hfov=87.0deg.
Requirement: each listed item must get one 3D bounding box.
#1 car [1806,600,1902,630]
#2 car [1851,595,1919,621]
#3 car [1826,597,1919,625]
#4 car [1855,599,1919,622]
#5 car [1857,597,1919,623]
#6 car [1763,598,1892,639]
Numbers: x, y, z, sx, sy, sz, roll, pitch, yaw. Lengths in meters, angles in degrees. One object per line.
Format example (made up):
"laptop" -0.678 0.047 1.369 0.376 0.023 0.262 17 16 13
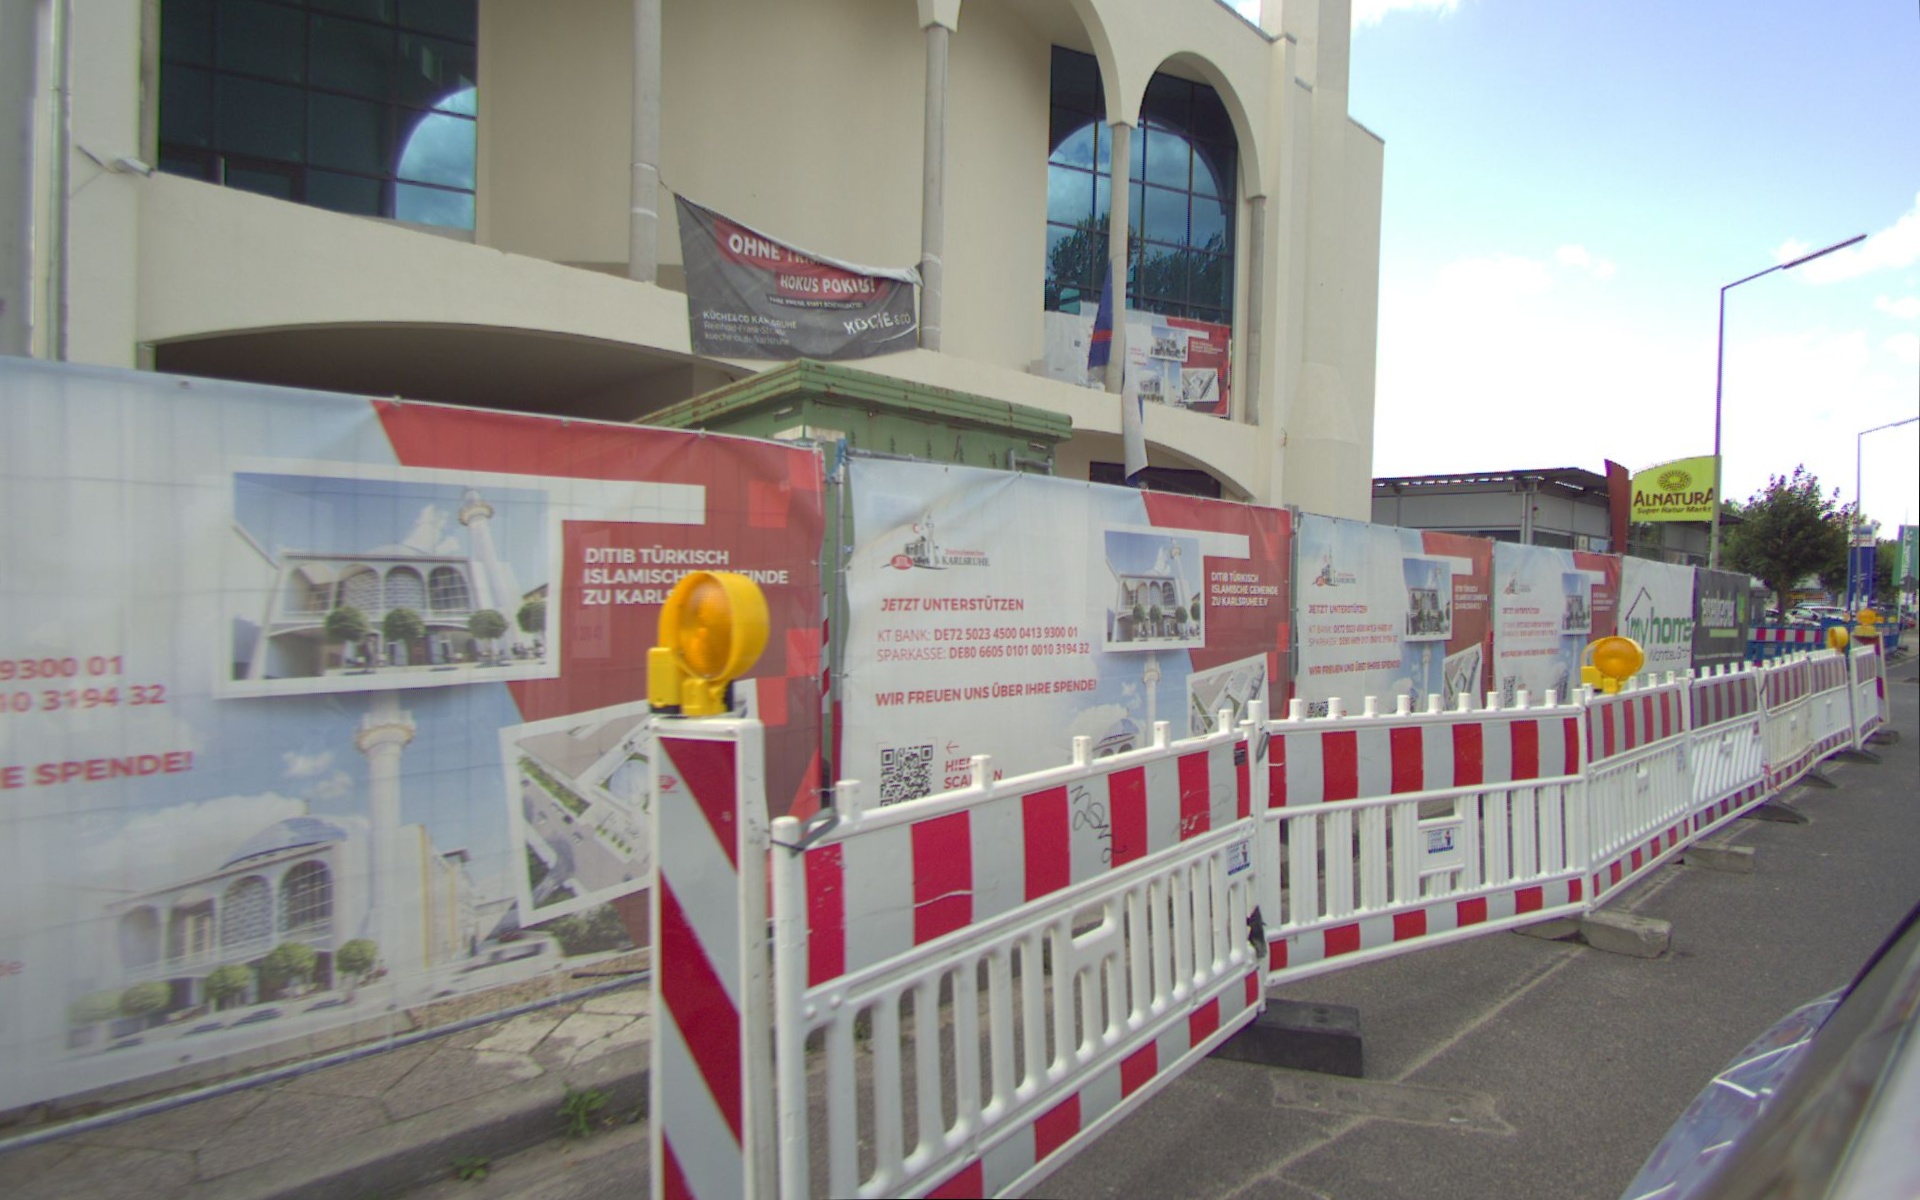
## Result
"car" 51.069 0.824 57.831 1.767 1.428 3.956 1 3 -45
"car" 74.333 0.666 80.604 1.870 1.810 4.901 1 2 -43
"car" 56.839 0.658 62.949 1.816 1.461 4.313 1 3 -44
"car" 72.403 0.796 78.854 1.625 1.517 3.819 1 2 -41
"car" 62.802 0.672 67.870 3.884 1.541 1.722 4 2 43
"car" 38.385 0.785 44.830 1.956 1.481 4.109 0 3 -43
